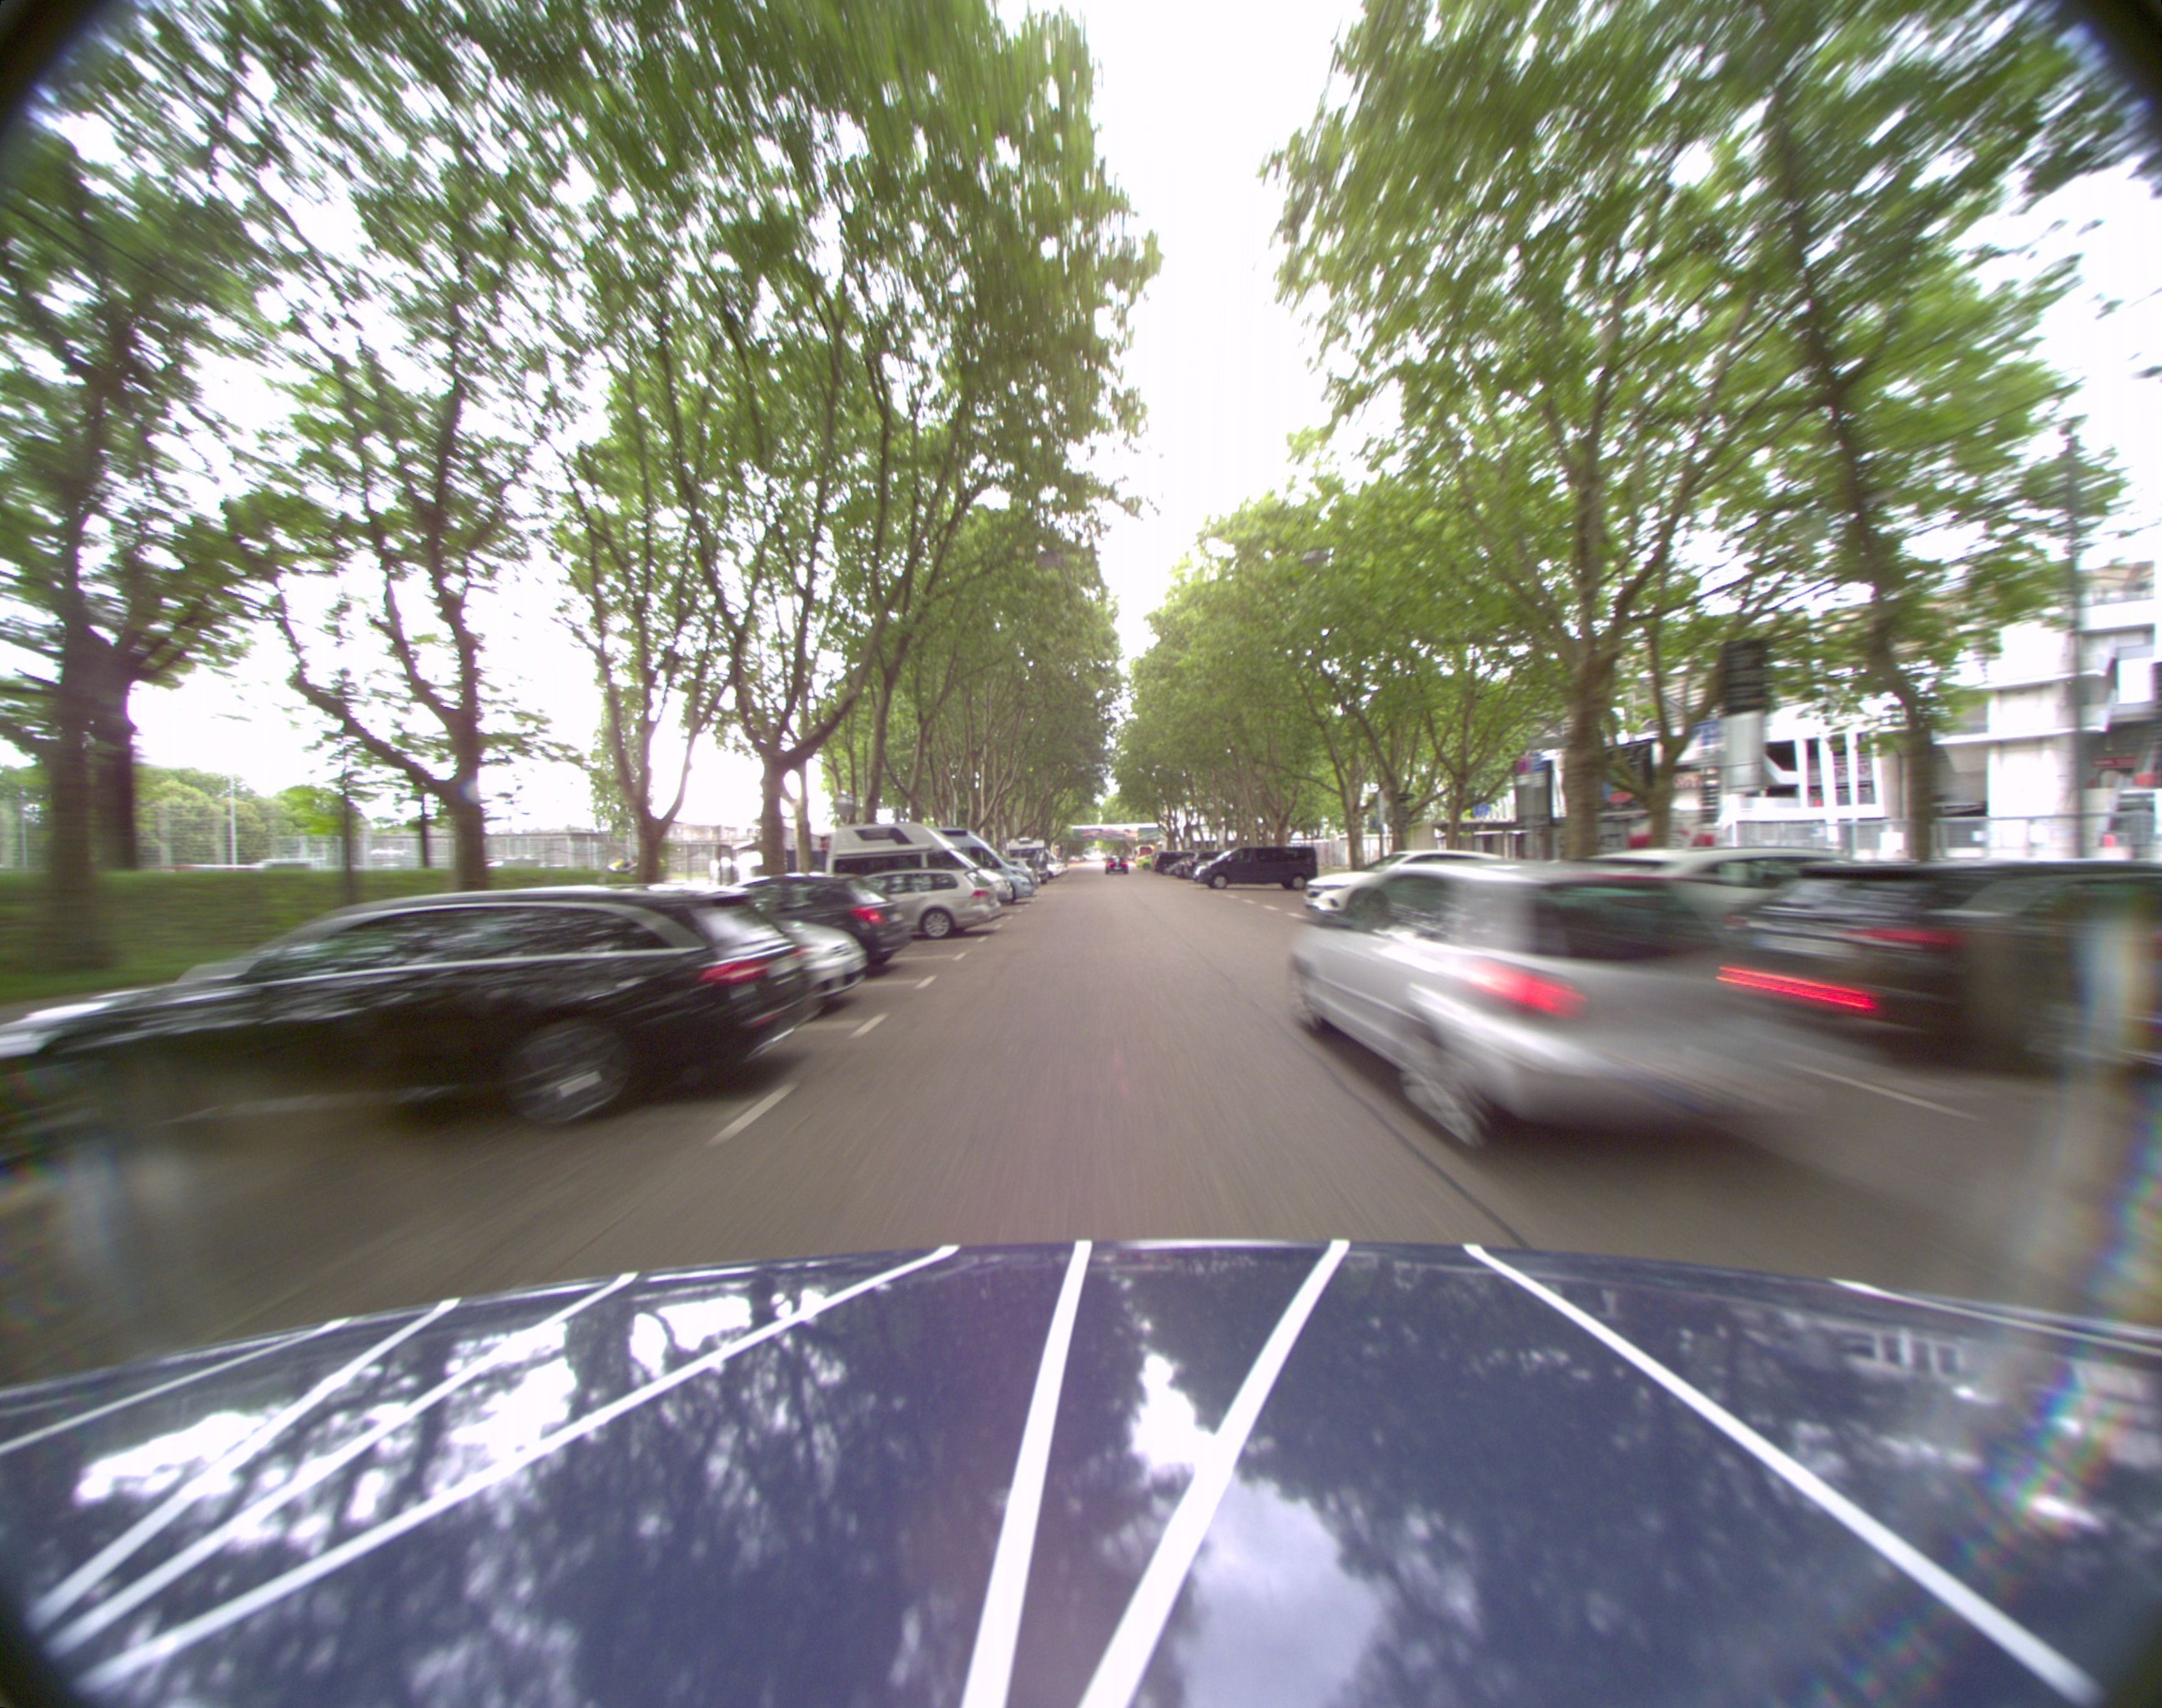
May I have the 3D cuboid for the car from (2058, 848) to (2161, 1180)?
[{"bbox_3d":[7.579,0.837,3.204,4.352,1.658,2.000,1,0,-1],"label":"car"}]

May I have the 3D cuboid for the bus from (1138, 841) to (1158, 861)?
[{"bbox_3d":[11.218,-0.505,128.221,2.657,3.136,12.370,1,0,2],"label":"bus"}]

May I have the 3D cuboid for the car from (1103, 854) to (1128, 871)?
[{"bbox_3d":[2.878,0.717,63.921,1.658,1.356,4.111,1,0,-3],"label":"car"}]

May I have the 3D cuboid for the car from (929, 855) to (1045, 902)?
[{"bbox_3d":[-3.791,0.964,31.033,4.350,1.608,1.804,-3,0,4],"label":"car"}]

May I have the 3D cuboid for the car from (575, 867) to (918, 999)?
[{"bbox_3d":[-4.609,1.061,10.956,4.055,1.517,1.814,-3,1,-1],"label":"car"}]

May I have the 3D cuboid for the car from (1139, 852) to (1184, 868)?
[{"bbox_3d":[8.384,0.602,79.279,4.526,1.608,1.758,-1,0,3],"label":"car"}]

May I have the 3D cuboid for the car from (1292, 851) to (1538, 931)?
[{"bbox_3d":[7.029,0.749,16.339,4.391,1.587,2.000,0,0,-1],"label":"car"}]

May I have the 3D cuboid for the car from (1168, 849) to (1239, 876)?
[{"bbox_3d":[8.350,0.574,52.107,4.589,1.771,1.798,1,0,3],"label":"car"}]

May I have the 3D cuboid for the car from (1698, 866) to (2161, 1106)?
[{"bbox_3d":[7.399,0.871,5.733,3.997,1.467,1.842,1,0,-1],"label":"car"}]

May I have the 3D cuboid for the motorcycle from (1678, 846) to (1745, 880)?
[{"bbox_3d":[21.712,0.316,26.195,1.659,1.136,0.739,0,1,4],"label":"motorcycle"}]

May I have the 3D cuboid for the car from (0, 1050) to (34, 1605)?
[{"bbox_3d":[-4.782,1.127,1.173,4.194,1.548,1.701,-2,1,4],"label":"car"}]

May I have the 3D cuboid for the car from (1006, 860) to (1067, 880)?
[{"bbox_3d":[-3.232,1.178,56.095,4.330,1.294,1.700,-2,0,1],"label":"car"}]

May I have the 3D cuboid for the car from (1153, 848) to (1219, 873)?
[{"bbox_3d":[8.213,0.484,59.707,4.917,1.913,2.208,0,0,2],"label":"car"}]

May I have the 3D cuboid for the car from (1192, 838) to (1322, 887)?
[{"bbox_3d":[7.926,0.384,34.529,5.449,2.115,1.940,0,0,-1],"label":"car"}]

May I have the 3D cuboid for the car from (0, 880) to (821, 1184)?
[{"bbox_3d":[-4.395,1.074,5.296,4.514,1.517,1.703,-3,1,-1],"label":"car"}]

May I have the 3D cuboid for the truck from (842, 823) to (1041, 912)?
[{"bbox_3d":[-4.683,0.443,26.173,6.308,2.699,2.098,-2,1,2],"label":"truck"}]

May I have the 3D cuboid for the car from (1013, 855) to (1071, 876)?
[{"bbox_3d":[-3.129,0.926,61.356,4.375,1.437,1.610,-3,1,-15],"label":"car"}]

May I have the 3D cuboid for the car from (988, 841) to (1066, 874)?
[{"bbox_3d":[-4.968,0.287,69.394,6.903,2.679,2.126,-2,1,-8],"label":"car"}]

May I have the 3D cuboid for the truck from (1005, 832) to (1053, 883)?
[{"bbox_3d":[-3.466,0.192,48.709,2.466,2.920,7.533,-3,0,-7],"label":"truck"}]

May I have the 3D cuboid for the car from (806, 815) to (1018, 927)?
[{"bbox_3d":[-4.526,0.443,20.906,5.241,2.674,1.957,-3,1,2],"label":"car"}]

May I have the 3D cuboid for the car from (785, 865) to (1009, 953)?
[{"bbox_3d":[-3.740,1.111,15.913,4.129,1.421,1.703,-4,1,3],"label":"car"}]

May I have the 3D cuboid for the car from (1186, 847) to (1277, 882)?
[{"bbox_3d":[8.206,0.581,41.770,4.664,1.809,1.806,1,-1,3],"label":"car"}]

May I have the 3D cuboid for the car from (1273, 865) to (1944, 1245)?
[{"bbox_3d":[2.616,0.840,4.983,1.693,1.463,3.839,0,0,-1],"label":"car"}]

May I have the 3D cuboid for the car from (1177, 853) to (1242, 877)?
[{"bbox_3d":[8.271,0.724,49.132,3.907,1.485,1.753,1,1,-1],"label":"car"}]

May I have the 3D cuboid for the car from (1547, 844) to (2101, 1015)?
[{"bbox_3d":[8.116,0.759,8.663,4.352,1.658,2.000,1,0,-1],"label":"car"}]
